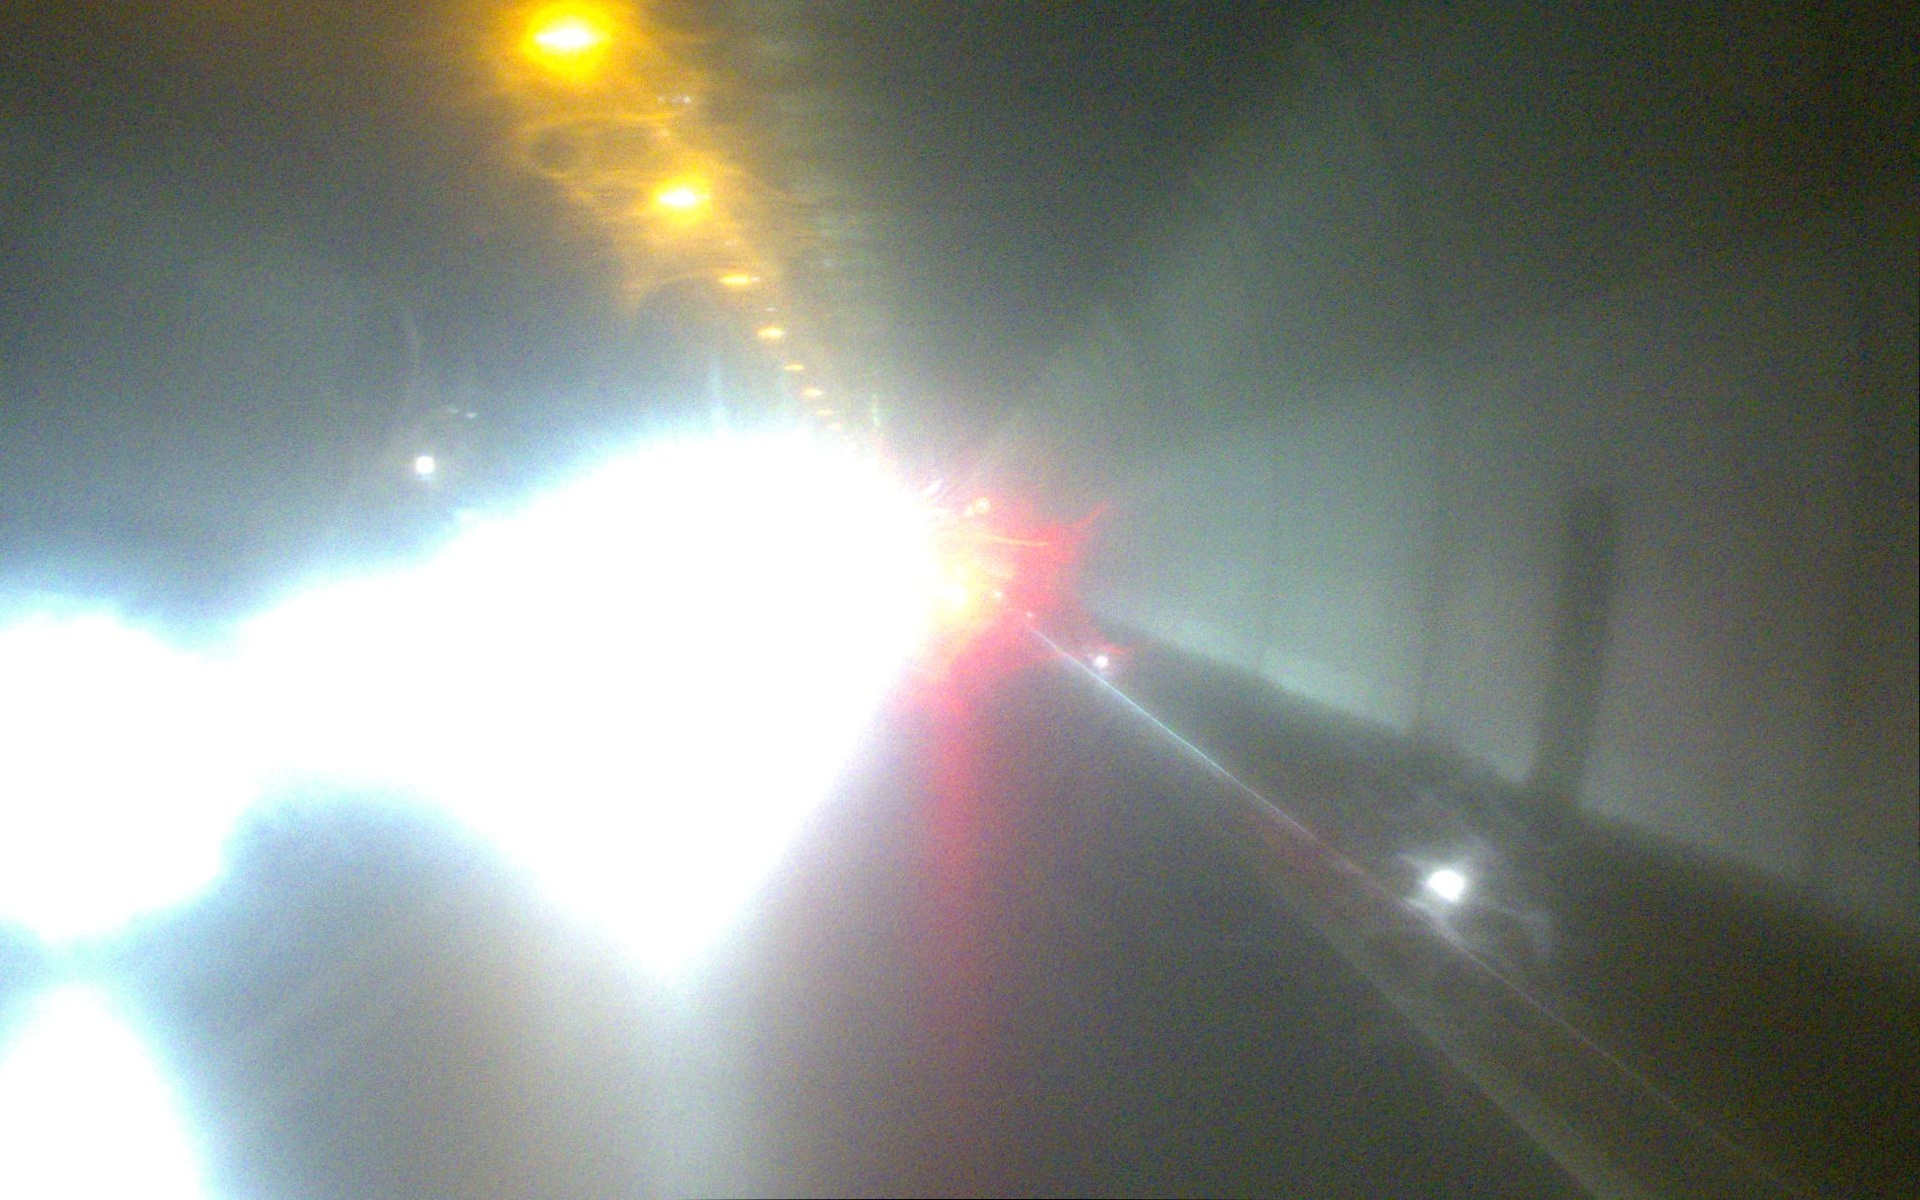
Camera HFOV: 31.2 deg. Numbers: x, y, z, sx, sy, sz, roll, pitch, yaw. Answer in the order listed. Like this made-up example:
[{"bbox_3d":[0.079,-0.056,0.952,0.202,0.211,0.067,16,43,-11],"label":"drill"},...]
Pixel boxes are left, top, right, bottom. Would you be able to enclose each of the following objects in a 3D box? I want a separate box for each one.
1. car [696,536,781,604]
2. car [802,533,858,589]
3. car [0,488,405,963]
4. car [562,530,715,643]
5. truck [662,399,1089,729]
[{"bbox_3d":[-4.900,-0.673,76.466,1.759,1.475,3.887,0,1,-2],"label":"car"},{"bbox_3d":[-4.242,-1.303,112.838,1.729,1.786,3.932,-1,1,-1],"label":"car"},{"bbox_3d":[-3.277,0.392,13.649,1.569,1.626,3.730,0,1,-1],"label":"car"},{"bbox_3d":[-4.327,-0.220,46.769,1.735,1.436,3.837,-1,1,-1],"label":"car"},{"bbox_3d":[-0.752,-0.401,33.622,3.535,2.684,8.956,-2,1,0],"label":"truck"}]
